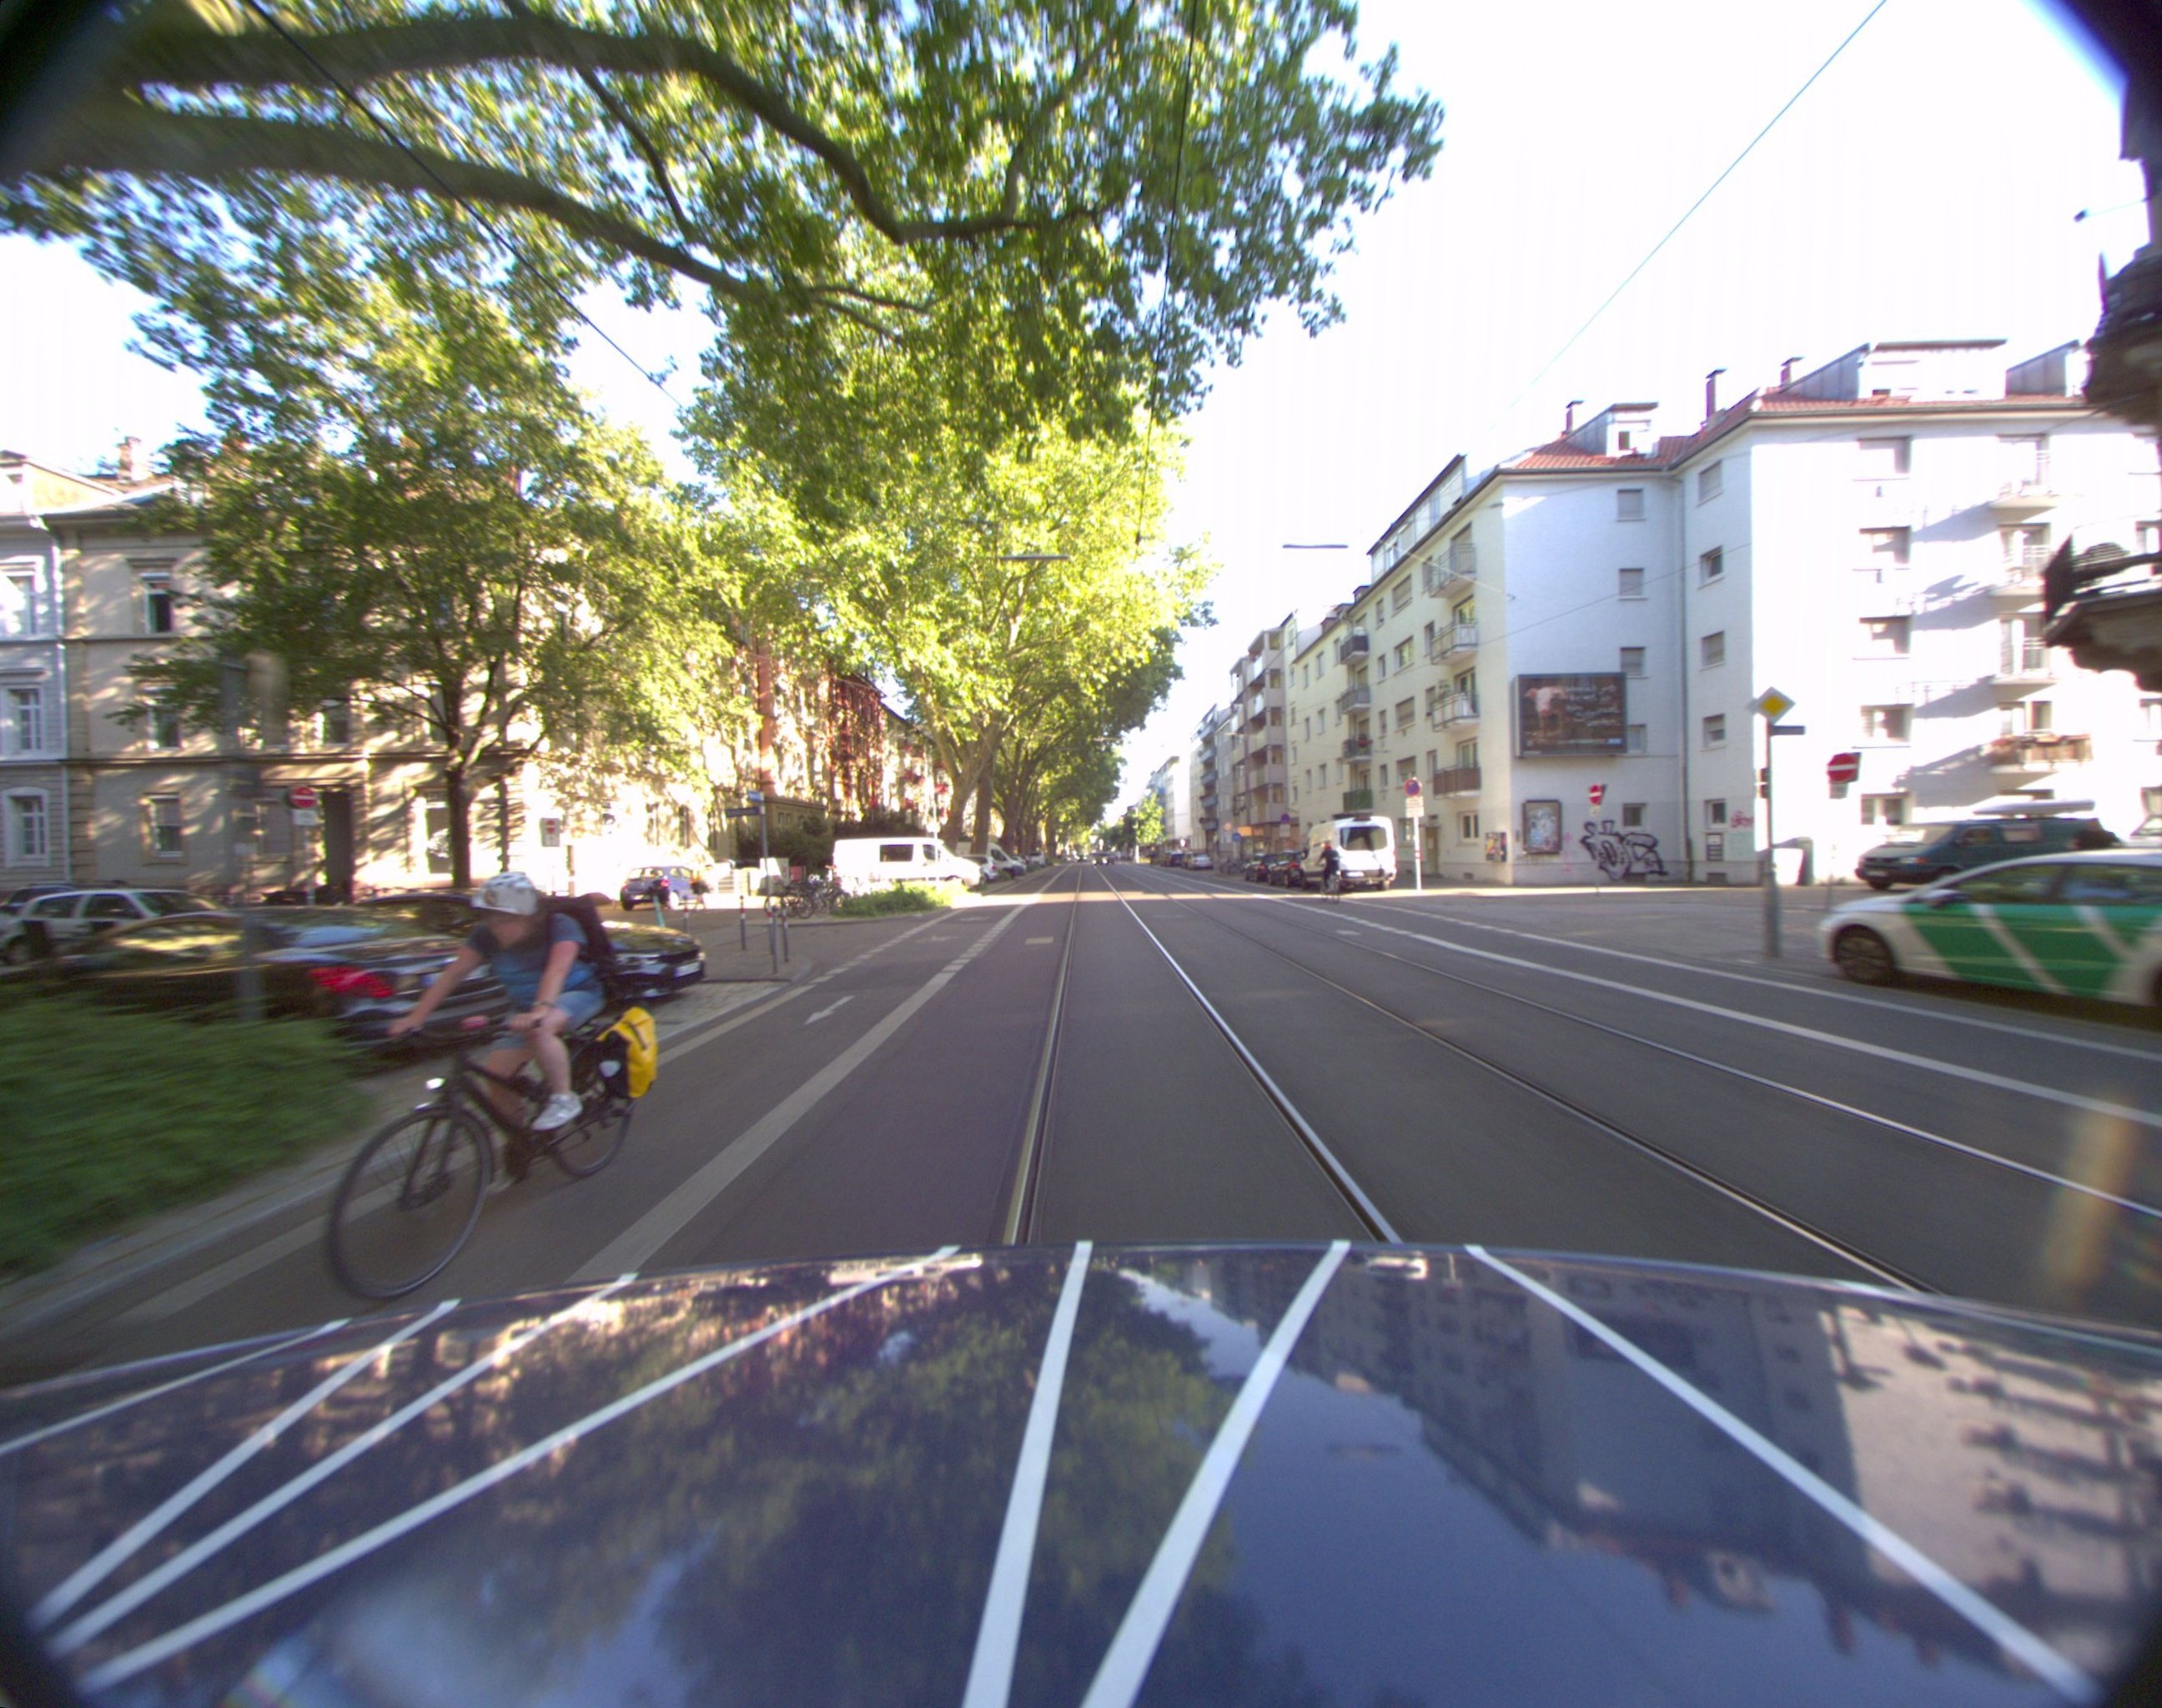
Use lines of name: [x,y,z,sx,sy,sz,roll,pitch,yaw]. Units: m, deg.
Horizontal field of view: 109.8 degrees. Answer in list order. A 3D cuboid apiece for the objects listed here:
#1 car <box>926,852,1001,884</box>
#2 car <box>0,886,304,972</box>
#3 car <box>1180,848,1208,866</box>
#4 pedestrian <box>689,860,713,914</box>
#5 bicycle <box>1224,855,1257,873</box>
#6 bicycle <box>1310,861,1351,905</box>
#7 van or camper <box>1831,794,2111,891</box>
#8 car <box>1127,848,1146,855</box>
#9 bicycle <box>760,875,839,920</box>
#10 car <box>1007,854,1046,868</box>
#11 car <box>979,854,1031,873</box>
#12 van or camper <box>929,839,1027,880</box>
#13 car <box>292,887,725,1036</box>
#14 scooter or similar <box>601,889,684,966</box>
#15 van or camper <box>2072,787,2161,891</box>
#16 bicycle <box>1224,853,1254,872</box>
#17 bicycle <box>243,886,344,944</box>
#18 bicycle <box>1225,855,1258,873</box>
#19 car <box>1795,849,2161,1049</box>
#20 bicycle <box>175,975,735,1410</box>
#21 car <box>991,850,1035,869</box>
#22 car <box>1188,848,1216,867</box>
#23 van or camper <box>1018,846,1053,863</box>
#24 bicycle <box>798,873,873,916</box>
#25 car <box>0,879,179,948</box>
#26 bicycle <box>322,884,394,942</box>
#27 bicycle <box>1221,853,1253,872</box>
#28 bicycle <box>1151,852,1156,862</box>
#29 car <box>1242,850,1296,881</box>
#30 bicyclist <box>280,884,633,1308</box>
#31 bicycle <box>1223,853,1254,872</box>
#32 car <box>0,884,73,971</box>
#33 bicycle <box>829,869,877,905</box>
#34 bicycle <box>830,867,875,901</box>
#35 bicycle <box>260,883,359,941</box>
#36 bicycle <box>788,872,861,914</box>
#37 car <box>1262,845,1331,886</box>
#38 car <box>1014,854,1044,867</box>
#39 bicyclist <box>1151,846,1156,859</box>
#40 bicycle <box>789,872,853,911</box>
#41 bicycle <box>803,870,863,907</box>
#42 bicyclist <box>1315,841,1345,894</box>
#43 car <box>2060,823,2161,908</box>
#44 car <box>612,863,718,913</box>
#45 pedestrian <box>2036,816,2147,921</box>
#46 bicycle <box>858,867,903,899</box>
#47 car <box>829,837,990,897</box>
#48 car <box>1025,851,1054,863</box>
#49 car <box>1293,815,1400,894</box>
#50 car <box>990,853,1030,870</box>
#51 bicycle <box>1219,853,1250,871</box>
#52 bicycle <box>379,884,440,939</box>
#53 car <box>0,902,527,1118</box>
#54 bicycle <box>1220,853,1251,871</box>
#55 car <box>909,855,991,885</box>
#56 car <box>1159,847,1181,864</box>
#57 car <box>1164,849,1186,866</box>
car: [-6.600,0.754,42.901,3.965,1.646,1.795,-1,1,-2]
car: [-17.464,1.368,14.361,3.687,1.403,1.692,-2,-1,-3]
car: [10.079,0.251,67.937,1.798,1.482,4.240,-1,0,-1]
pedestrian: [-11.974,1.020,23.945,0.594,1.642,0.707,-2,2,-25]
bicycle: [9.977,0.602,47.549,1.897,1.032,0.402,-3,1,7]
bicycle: [7.092,0.802,21.701,0.422,1.144,2.231,-1,1,0]
van or camper: [23.754,-0.289,20.446,5.115,2.373,2.021,-1,1,1]
car: [11.847,-0.562,161.493,3.953,1.515,1.587,-1,1,4]
bicycle: [-7.707,1.200,20.839,2.046,1.172,0.413,-2,2,9]
car: [-6.069,0.747,85.127,4.206,1.473,1.911,-1,1,2]
car: [-6.118,0.786,61.387,3.963,1.471,1.688,-1,1,0]
van or camper: [-6.611,0.331,49.420,6.048,2.476,2.107,-1,1,0]
car: [-6.809,1.226,9.258,4.103,1.483,1.832,-1,1,9]
scooter or similar: [-7.400,1.234,12.828,1.309,1.248,0.341,-1,1,14]
van or camper: [30.687,-0.437,20.142,6.006,2.654,2.157,-1,0,0]
bicycle: [10.048,0.551,48.355,1.792,1.112,0.425,-3,1,7]
bicycle: [-20.122,1.519,19.477,0.507,1.278,2.044,-2,1,-4]
bicycle: [9.919,0.636,46.982,1.897,1.032,0.402,-3,1,7]
car: [9.355,0.744,6.979,1.745,1.483,4.044,-3,1,0]
bicycle: [-2.646,1.324,3.776,0.596,0.998,2.511,-4,0,1]
car: [-6.594,0.498,74.092,4.004,1.735,1.805,-1,0,0]
car: [9.999,0.246,63.060,1.694,1.482,4.728,-1,0,1]
van or camper: [-5.776,0.081,96.333,4.388,2.098,1.838,-1,1,-3]
bicycle: [-7.086,1.179,21.953,2.046,1.172,0.413,-2,2,9]
car: [-27.395,1.587,20.513,3.995,1.590,1.853,-1,3,5]
bicycle: [-18.649,1.485,19.647,0.508,1.278,1.904,-3,3,-18]
bicycle: [10.130,0.536,49.520,1.972,1.112,0.425,-3,1,7]
bicycle: [7.863,0.318,82.239,0.418,1.012,1.946,0,1,1]
car: [9.447,0.527,38.550,1.722,1.448,4.572,-1,1,2]
bicyclist: [-2.680,0.957,3.394,0.615,1.543,0.935,-6,1,1]
bicycle: [10.120,0.543,48.834,1.822,1.112,0.425,-3,1,7]
car: [-21.958,1.427,14.307,3.686,1.606,1.692,-2,-1,0]
bicycle: [-7.820,1.121,25.974,2.043,1.172,0.414,-1,2,38]
bicycle: [-8.326,1.072,27.682,2.043,1.172,0.414,-1,2,38]
bicycle: [-20.978,1.551,20.721,0.523,1.310,2.007,-3,3,0]
bicycle: [-7.607,1.151,22.519,2.046,1.172,0.413,-2,2,9]
car: [9.286,0.456,33.086,1.723,1.622,4.346,-2,1,-1]
car: [-6.447,0.825,93.618,3.572,1.522,1.677,-1,1,-1]
bicyclist: [7.849,-0.121,82.428,0.510,1.386,0.709,0,1,0]
bicycle: [-8.059,1.164,23.499,2.044,1.172,0.414,-1,2,21]
bicycle: [-8.128,1.130,24.871,2.044,1.172,0.414,-1,2,21]
bicyclist: [7.073,0.383,21.576,0.584,1.473,0.807,-1,1,0]
car: [21.541,0.186,14.518,3.177,1.575,1.722,-1,-1,6]
car: [-14.171,1.101,26.144,1.737,1.447,3.569,-3,1,-3]
pedestrian: [17.649,0.256,13.292,0.658,1.738,0.894,-3,-1,4]
bicycle: [-7.489,1.070,28.379,2.043,1.172,0.414,-1,2,38]
car: [-6.896,0.521,30.906,6.005,2.269,2.006,-1,0,2]
car: [-5.396,0.433,100.004,3.570,1.431,1.726,-1,1,4]
car: [9.462,-0.001,27.659,2.070,2.521,5.667,-1,1,2]
car: [-6.645,0.704,71.612,3.618,1.486,1.660,-1,1,-1]
bicycle: [10.195,0.523,50.545,1.935,1.112,0.440,-3,1,7]
bicycle: [-18.194,1.528,20.632,0.508,1.249,1.903,-3,3,-20]
car: [-7.464,1.254,6.650,4.104,1.483,1.682,-1,1,6]
bicycle: [10.167,0.530,50.007,1.965,1.112,0.440,-3,1,7]
car: [-6.889,0.840,40.289,3.964,1.470,1.796,-1,1,0]
car: [9.793,0.115,83.887,1.784,1.728,4.488,-3,1,-2]
car: [9.739,0.318,78.776,1.660,1.591,4.201,-3,1,-1]
